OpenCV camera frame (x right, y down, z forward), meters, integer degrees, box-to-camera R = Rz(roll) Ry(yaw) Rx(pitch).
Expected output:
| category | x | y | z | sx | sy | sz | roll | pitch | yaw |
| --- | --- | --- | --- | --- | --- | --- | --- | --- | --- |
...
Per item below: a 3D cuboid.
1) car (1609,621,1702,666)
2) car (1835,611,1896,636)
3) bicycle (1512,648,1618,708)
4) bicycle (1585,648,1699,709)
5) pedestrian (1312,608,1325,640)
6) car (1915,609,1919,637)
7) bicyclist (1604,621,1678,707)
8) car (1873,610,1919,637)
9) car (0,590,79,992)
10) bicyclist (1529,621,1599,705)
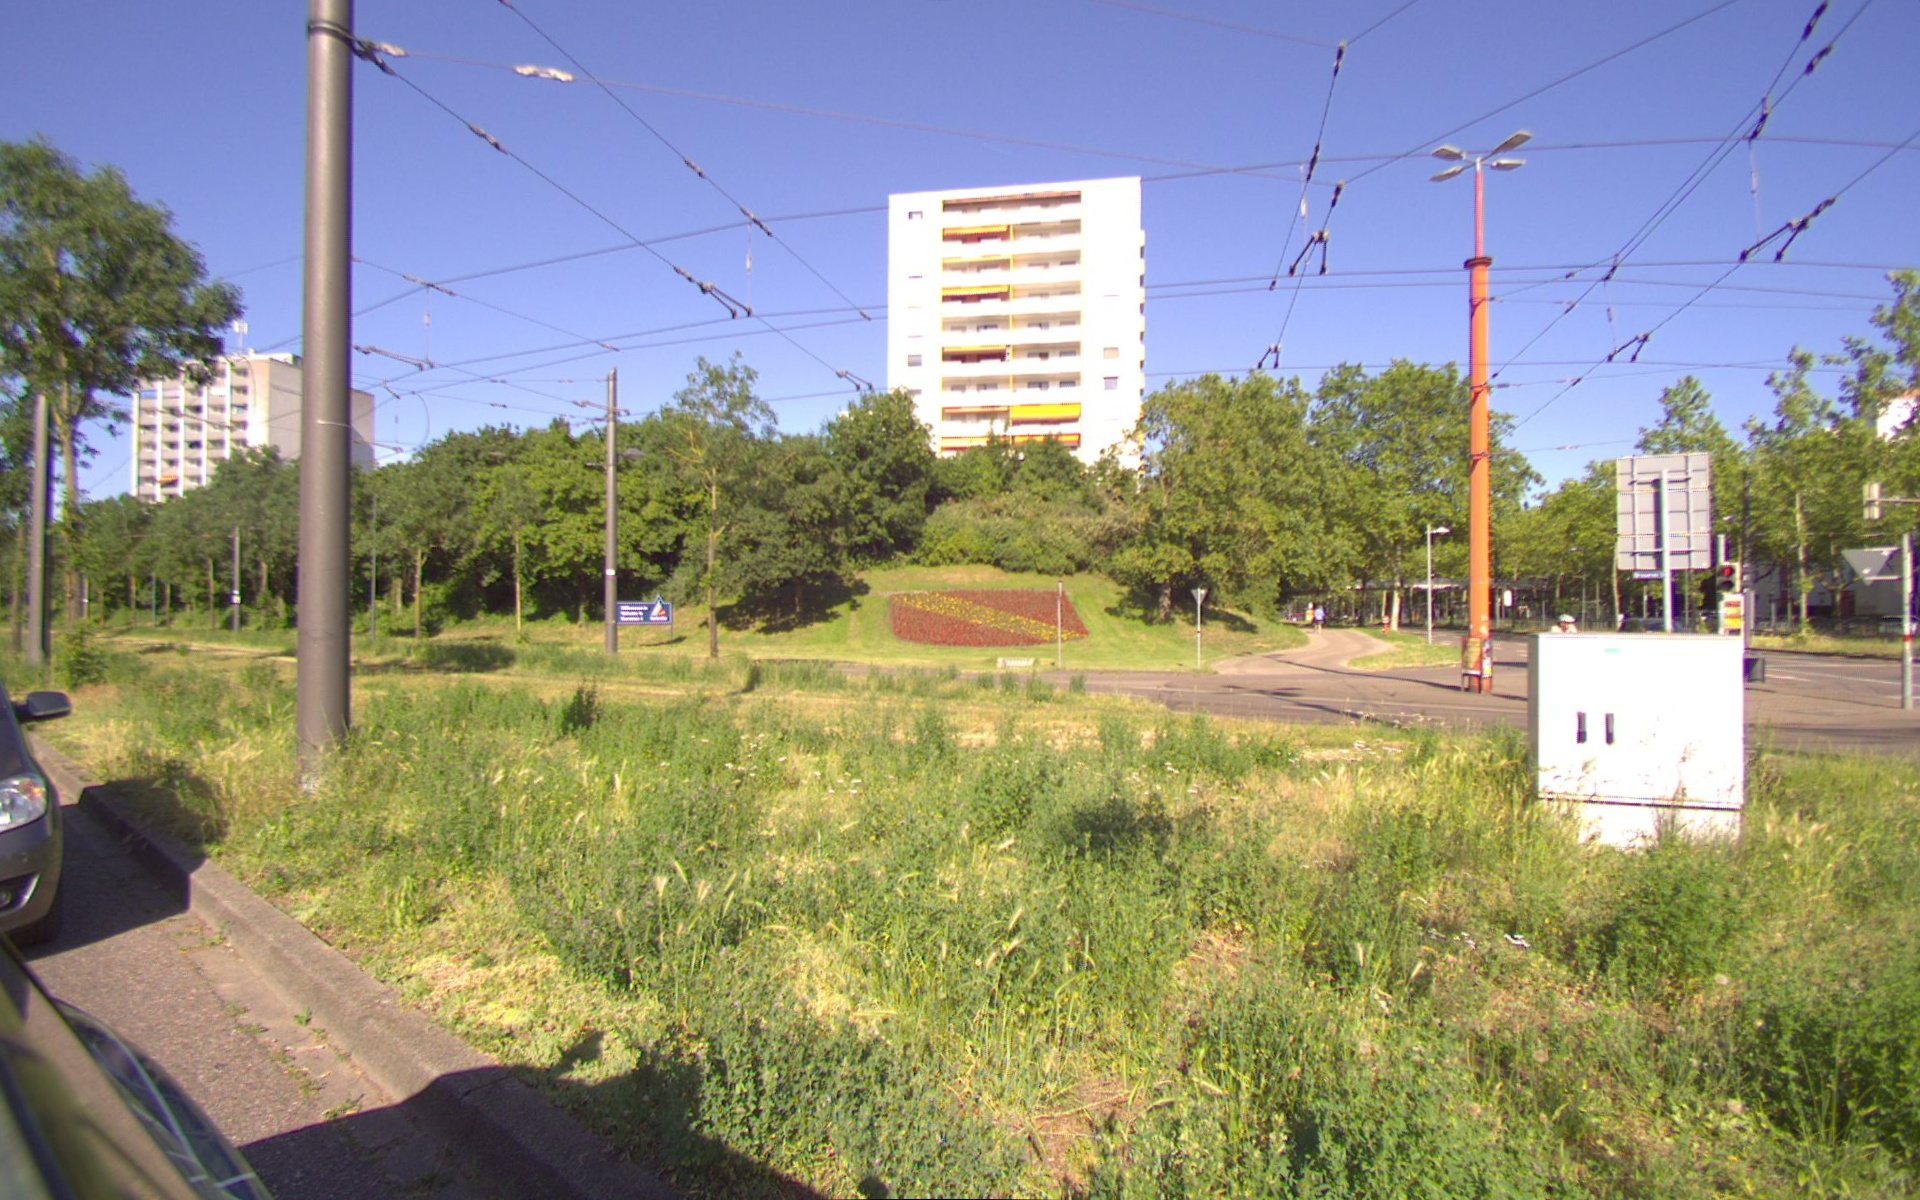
| category | x | y | z | sx | sy | sz | roll | pitch | yaw |
| --- | --- | --- | --- | --- | --- | --- | --- | --- | --- |
| car | 26.099 | 1.593 | 38.119 | 1.928 | 1.606 | 3.882 | -1 | -1 | 20 |
| car | 66.023 | 1.700 | 73.754 | 3.931 | 1.829 | 2.006 | 1 | -2 | -27 |
| bicycle | 12.097 | 1.532 | 20.312 | 0.915 | 1.095 | 1.888 | 0 | -1 | -2 |
| bicycle | 13.362 | 1.517 | 19.910 | 0.915 | 1.095 | 1.888 | 0 | -1 | -2 |
| pedestrian | 22.533 | 1.507 | 63.559 | 0.729 | 1.949 | 0.726 | -1 | -2 | 24 |
| car | 64.412 | 1.506 | 65.896 | 3.931 | 1.829 | 2.006 | 1 | -2 | -27 |
| bicyclist | 13.359 | 1.237 | 19.876 | 0.920 | 1.650 | 0.741 | 0 | -1 | -1 |
| car | 65.255 | 1.643 | 69.858 | 3.931 | 1.829 | 2.006 | 1 | -2 | -27 |
| car | -5.935 | 0.793 | 5.037 | 4.382 | 1.619 | 1.754 | -1 | -2 | 41 |
| bicyclist | 12.101 | 1.254 | 20.295 | 0.920 | 1.650 | 0.741 | 0 | -1 | -1 |
